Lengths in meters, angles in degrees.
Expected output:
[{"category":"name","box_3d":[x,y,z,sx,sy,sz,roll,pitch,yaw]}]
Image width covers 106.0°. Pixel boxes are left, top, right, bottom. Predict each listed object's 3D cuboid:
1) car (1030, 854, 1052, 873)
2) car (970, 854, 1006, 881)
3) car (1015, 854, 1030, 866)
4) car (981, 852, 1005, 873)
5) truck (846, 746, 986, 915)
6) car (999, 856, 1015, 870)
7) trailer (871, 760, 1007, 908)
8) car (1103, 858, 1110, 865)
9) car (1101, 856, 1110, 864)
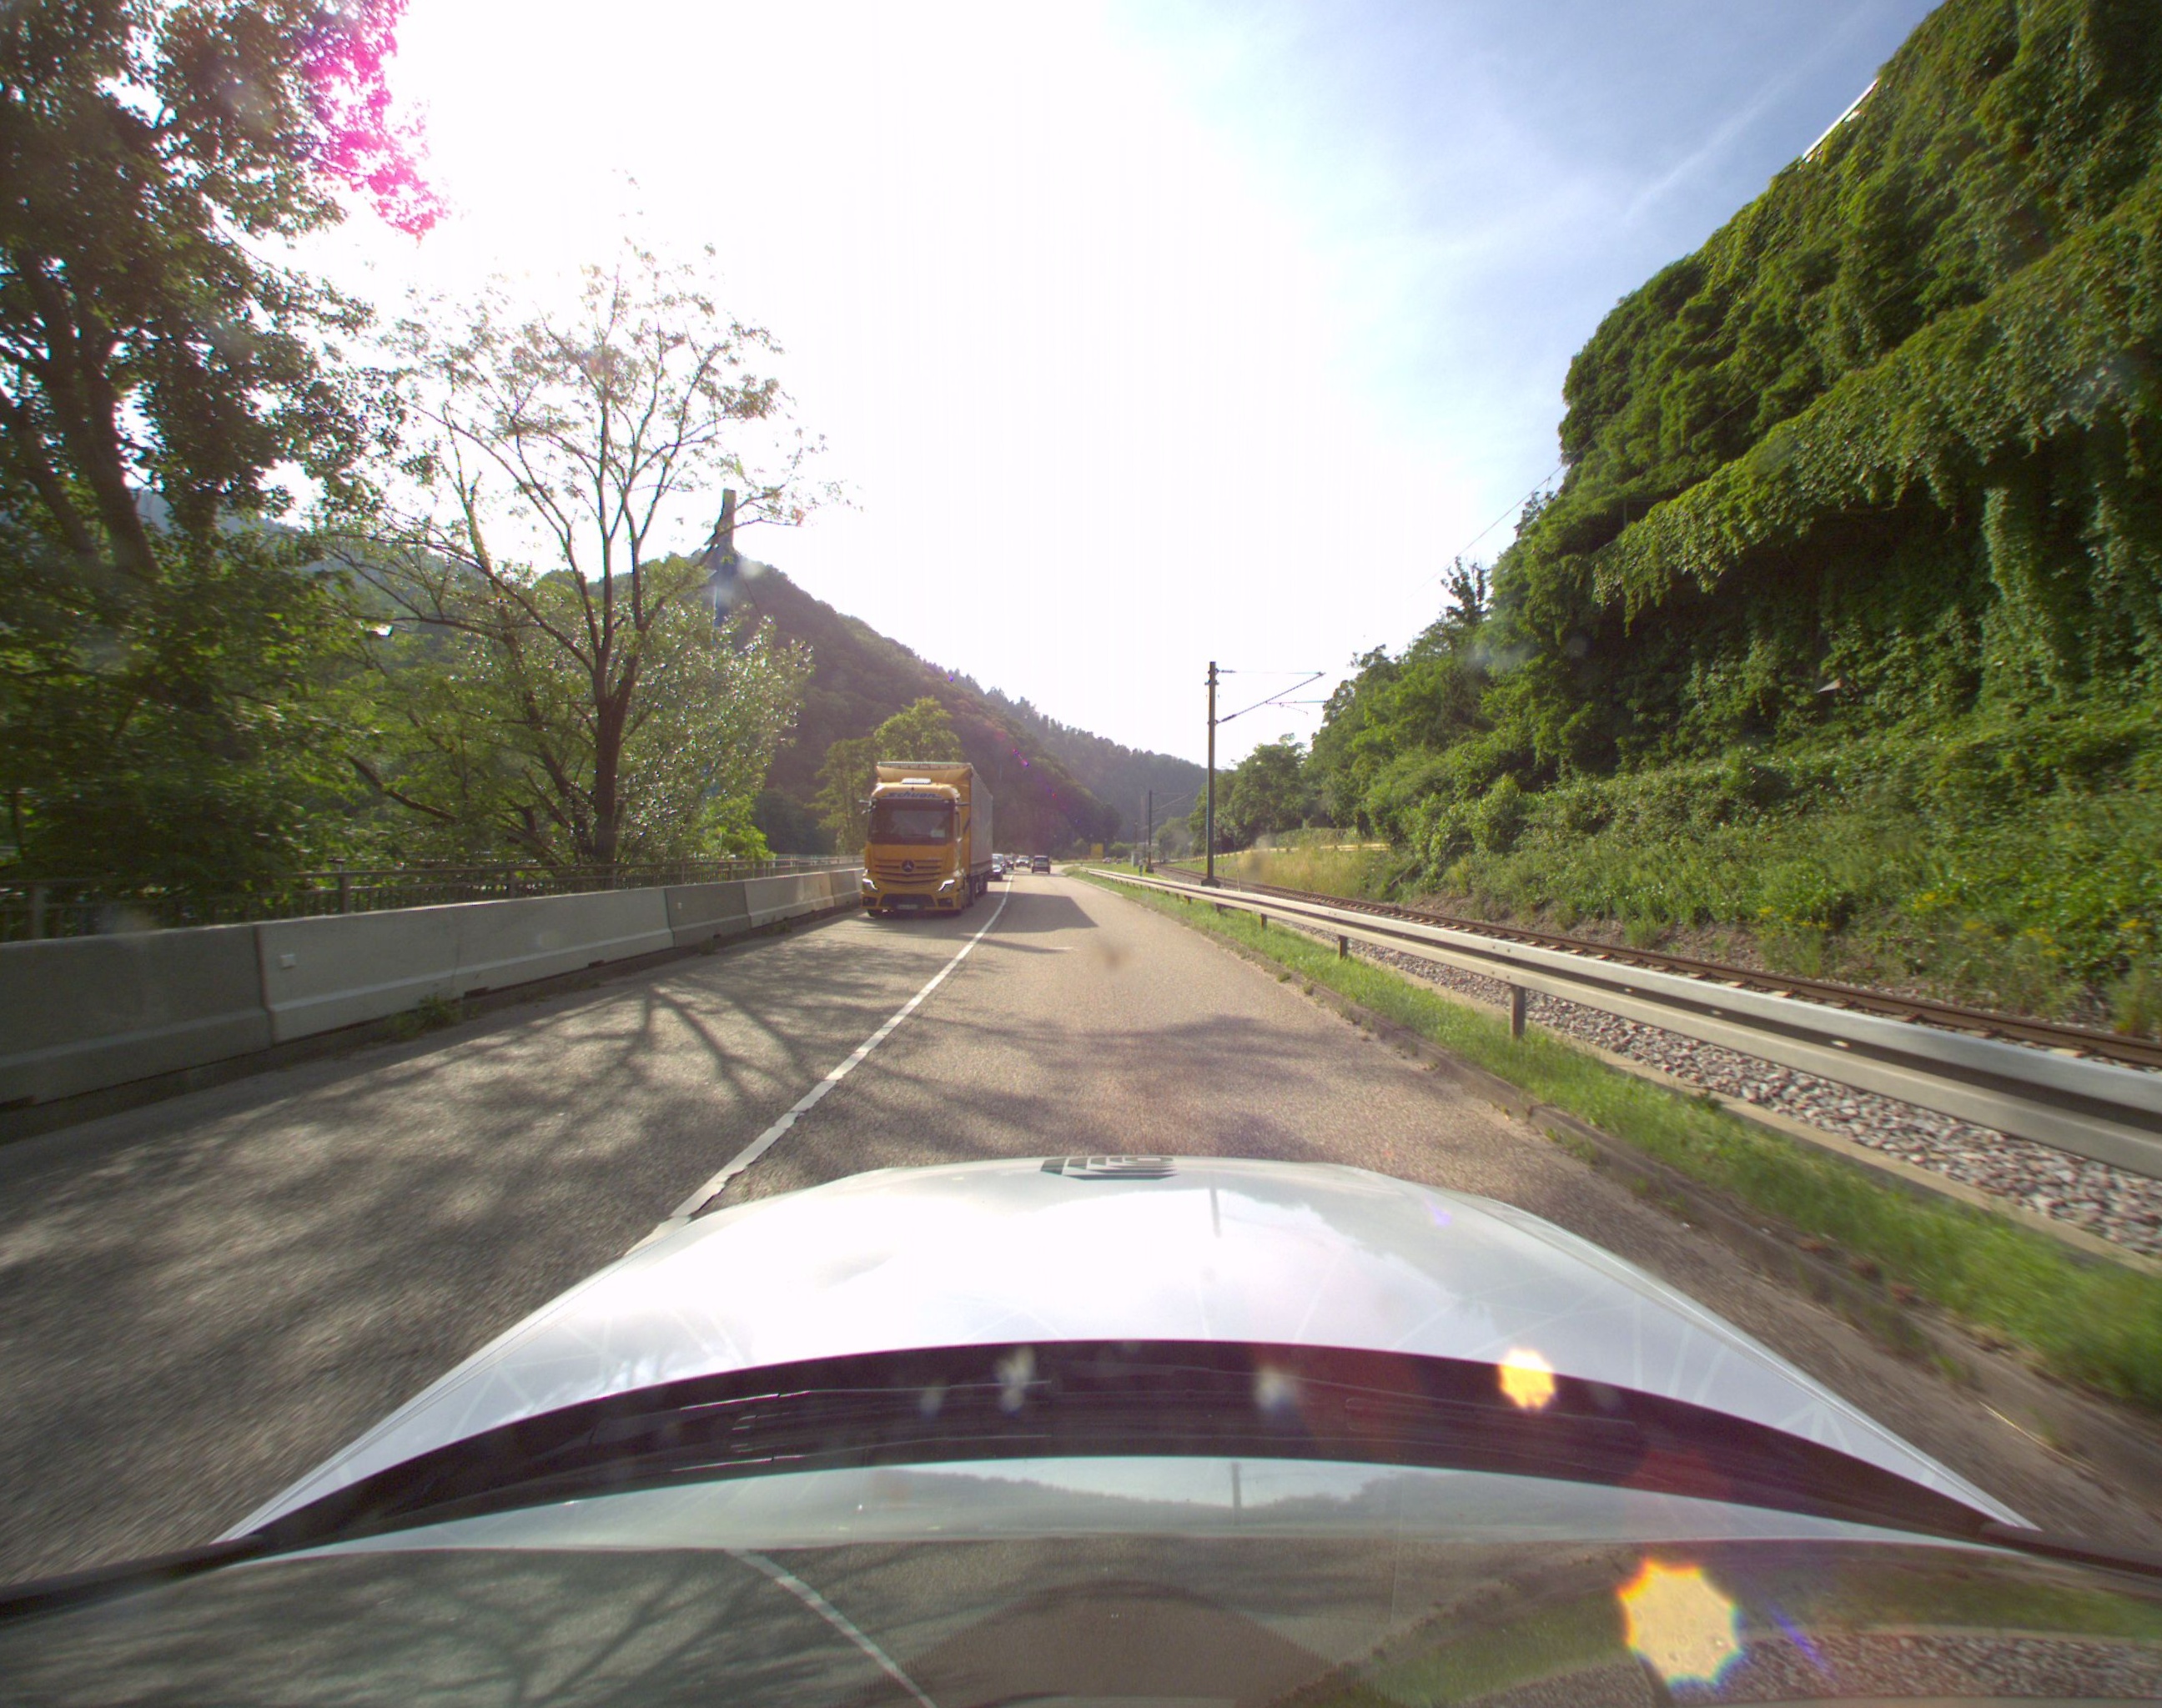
[{"category":"car","box_3d":[-3.736,0.863,76.953,1.988,1.723,3.986,-1,-1,-2]},{"category":"car","box_3d":[-5.600,0.794,49.475,1.832,1.496,4.931,1,0,-3]},{"category":"car","box_3d":[-8.283,0.842,115.130,1.989,1.629,4.501,2,0,-4]},{"category":"car","box_3d":[-7.251,0.714,67.509,1.770,1.670,4.640,0,0,-4]},{"category":"truck","box_3d":[-4.324,-0.577,22.731,2.734,4.028,6.407,-1,0,-2]},{"category":"car","box_3d":[-8.424,0.996,92.944,1.795,1.556,4.324,2,0,-5]},{"category":"trailer","box_3d":[-4.509,-0.553,29.159,2.849,4.013,13.659,-1,0,-2]},{"category":"car","box_3d":[7.363,2.107,235.362,1.843,1.784,4.687,3,0,3]},{"category":"car","box_3d":[5.901,1.499,198.775,1.985,2.014,4.004,-1,0,3]}]
